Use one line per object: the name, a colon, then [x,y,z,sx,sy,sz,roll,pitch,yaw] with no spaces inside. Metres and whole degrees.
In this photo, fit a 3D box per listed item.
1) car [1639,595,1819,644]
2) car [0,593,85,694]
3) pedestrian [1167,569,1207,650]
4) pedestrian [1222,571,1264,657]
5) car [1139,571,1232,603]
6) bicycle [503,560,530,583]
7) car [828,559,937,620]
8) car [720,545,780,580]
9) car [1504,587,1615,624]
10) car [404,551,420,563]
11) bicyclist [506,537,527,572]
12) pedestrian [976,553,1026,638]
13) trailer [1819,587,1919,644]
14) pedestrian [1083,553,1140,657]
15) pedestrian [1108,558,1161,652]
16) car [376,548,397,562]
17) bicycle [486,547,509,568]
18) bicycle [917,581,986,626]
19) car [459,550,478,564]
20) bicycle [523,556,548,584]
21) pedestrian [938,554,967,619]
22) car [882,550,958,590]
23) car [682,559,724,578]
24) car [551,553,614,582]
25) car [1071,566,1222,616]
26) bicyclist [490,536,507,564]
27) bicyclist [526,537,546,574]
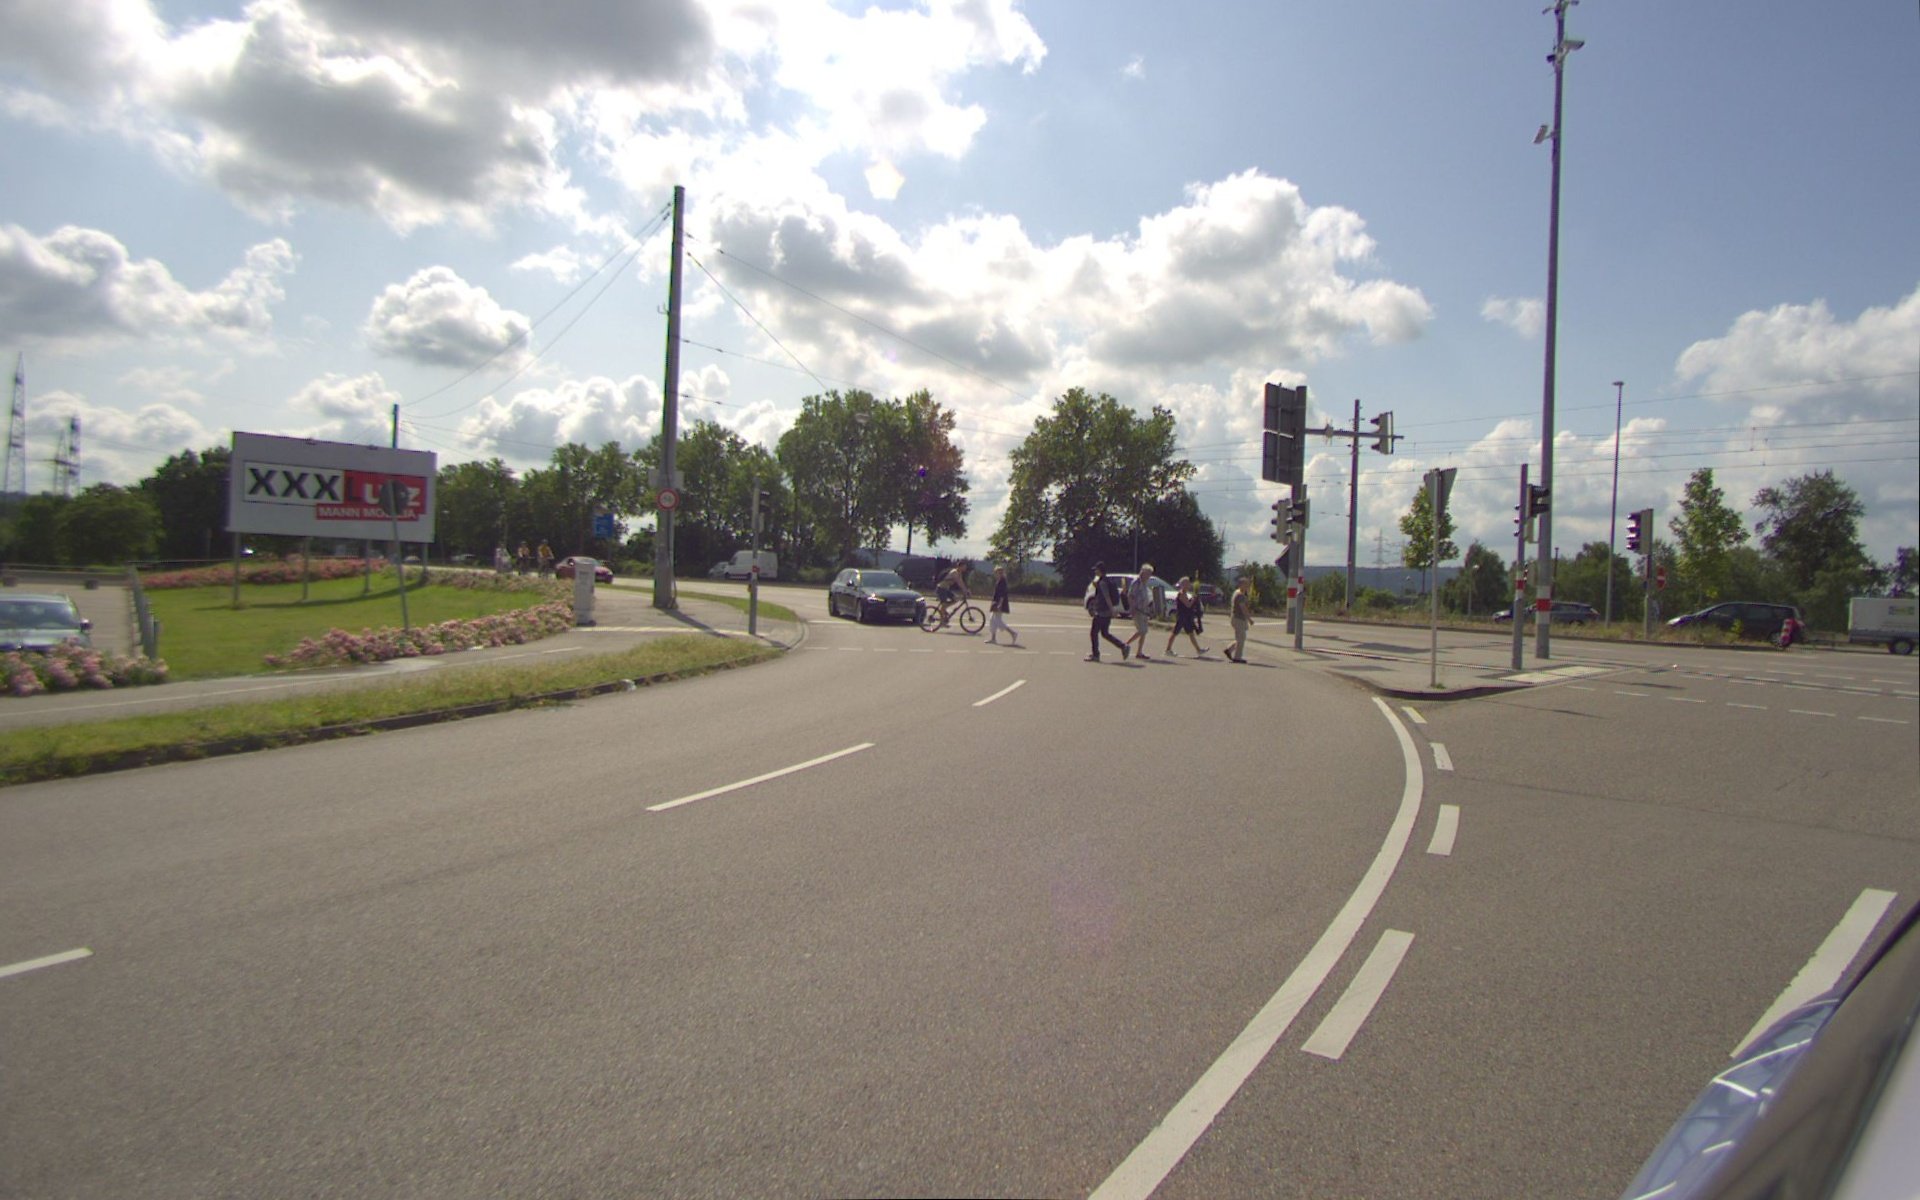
car: [28.659,0.692,37.833,5.232,1.594,1.969,2,0,42]
car: [-15.919,0.659,17.100,1.686,1.436,3.994,0,2,-41]
pedestrian: [4.442,0.173,19.792,0.460,1.543,0.586,1,1,-31]
pedestrian: [5.192,0.251,18.584,0.460,1.543,0.557,2,-1,-31]
car: [12.765,-0.750,57.390,4.762,1.527,1.938,3,0,40]
bicycle: [-19.825,-1.255,45.225,0.654,0.973,1.694,2,0,-39]
car: [-2.312,-0.346,28.924,1.876,1.501,4.212,1,3,-22]
car: [-17.231,-3.101,82.730,5.575,2.522,1.928,5,1,44]
car: [26.814,0.217,45.339,4.052,1.465,1.705,3,2,40]
car: [-94.471,-7.380,174.390,1.635,1.883,3.588,2,0,-41]
bicyclist: [-19.812,-2.029,45.238,0.639,1.494,0.742,2,-1,-39]
pedestrian: [0.880,-0.100,21.859,0.848,1.787,0.864,1,1,-13]
trailer: [32.555,0.541,34.300,5.163,1.854,1.797,2,1,42]
pedestrian: [2.727,0.085,18.267,0.744,1.825,0.823,1,0,-13]
pedestrian: [3.304,0.083,19.233,0.686,1.749,0.690,0,2,-29]
car: [-104.625,-8.147,184.543,2.113,2.388,5.471,1,1,-43]
bicycle: [-22.688,-2.059,49.658,0.586,0.973,1.987,2,0,-37]
bicycle: [-0.211,0.082,25.031,1.663,1.061,0.507,2,-1,0]
car: [-69.890,-6.127,143.827,1.772,1.883,3.593,2,0,-36]
bicycle: [-18.052,-1.270,43.029,0.609,1.180,1.505,2,0,-35]
pedestrian: [-0.198,-0.334,25.040,0.672,1.556,0.507,2,-1,0]
car: [-2.929,-2.190,73.549,5.657,2.637,1.961,4,-1,43]
car: [-24.167,-2.960,95.220,3.986,1.638,1.969,1,0,43]
car: [-19.596,-1.713,52.460,1.718,1.377,4.245,0,3,-40]
car: [5.960,-0.322,32.751,1.980,1.430,4.489,1,2,-43]
bicyclist: [-22.635,-2.447,49.605,0.581,1.342,0.687,2,-1,-37]
bicyclist: [-18.013,-1.889,43.017,0.609,1.555,0.697,2,-1,-36]
